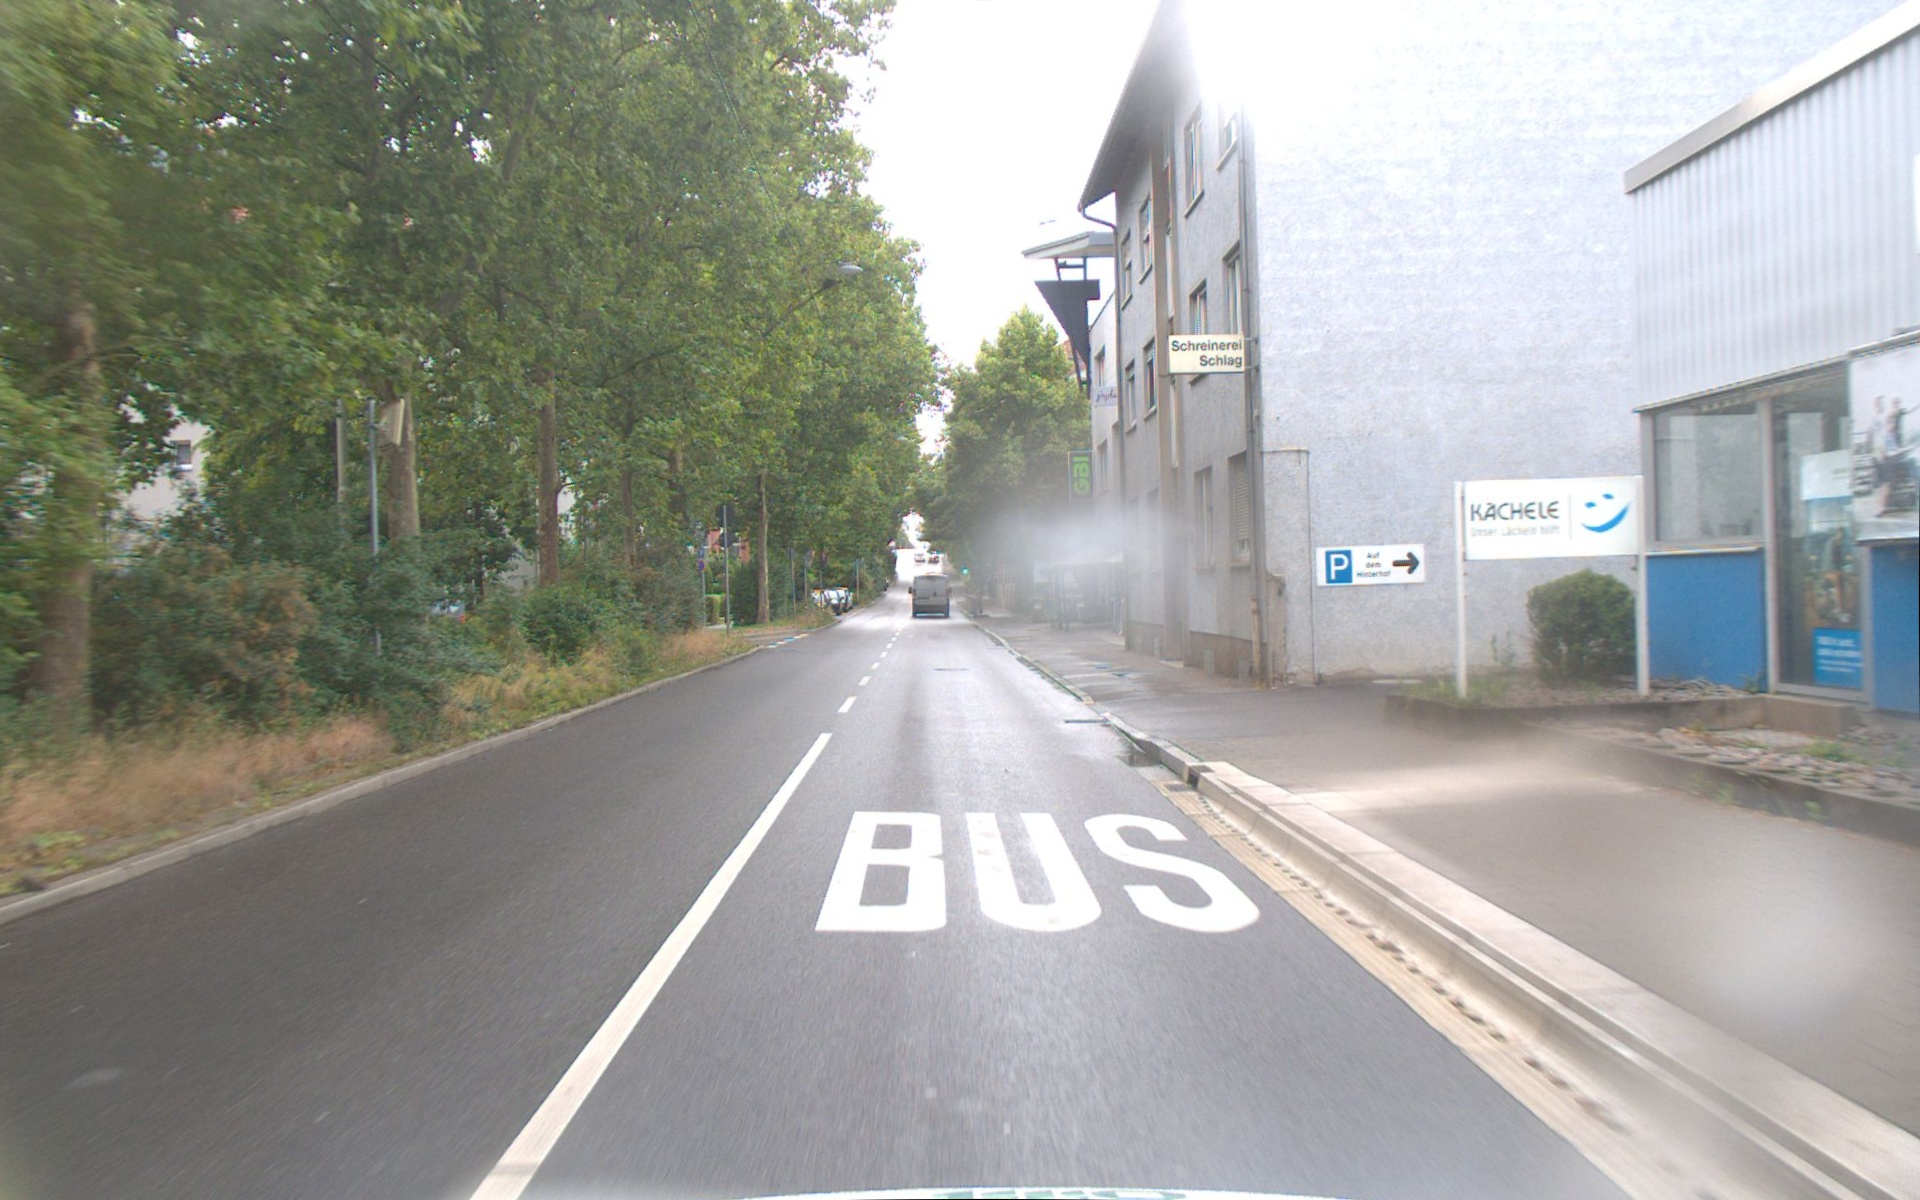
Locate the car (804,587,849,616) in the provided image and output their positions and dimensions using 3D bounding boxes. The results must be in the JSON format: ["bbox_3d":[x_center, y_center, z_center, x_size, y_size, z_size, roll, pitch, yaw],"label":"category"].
[{"bbox_3d":[-7.825,0.126,97.515,2.170,1.620,4.609,0,-1,1],"label":"car"}]

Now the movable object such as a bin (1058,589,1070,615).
[{"bbox_3d":[4.318,0.092,68.617,0.392,1.085,0.358,-1,-2,-7],"label":"movable object such as a bin"}]

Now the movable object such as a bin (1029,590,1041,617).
[{"bbox_3d":[3.112,0.164,68.600,0.392,1.085,0.358,-4,-1,-7],"label":"movable object such as a bin"}]

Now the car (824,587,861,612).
[{"bbox_3d":[-8.313,-0.014,117.514,2.170,1.721,4.609,0,-1,1],"label":"car"}]

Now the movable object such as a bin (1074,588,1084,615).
[{"bbox_3d":[4.951,0.066,68.663,0.349,1.085,0.358,0,-2,-7],"label":"movable object such as a bin"}]

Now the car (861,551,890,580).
[{"bbox_3d":[-7.272,-2.972,142.902,2.170,2.334,4.610,0,0,1],"label":"car"}]

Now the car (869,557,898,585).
[{"bbox_3d":[-6.951,-2.622,150.532,2.169,2.334,4.610,0,-1,3],"label":"car"}]

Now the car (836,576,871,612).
[{"bbox_3d":[-7.899,-0.420,123.179,2.170,2.578,4.610,0,0,1],"label":"car"}]

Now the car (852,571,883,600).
[{"bbox_3d":[-7.485,-1.180,134.802,2.170,2.334,4.610,0,0,1],"label":"car"}]

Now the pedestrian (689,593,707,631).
[{"bbox_3d":[-11.220,0.507,70.811,0.667,1.598,0.622,0,-1,-4],"label":"pedestrian"}]

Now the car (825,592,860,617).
[{"bbox_3d":[-7.984,0.337,112.572,1.954,1.570,4.609,0,-1,1],"label":"car"}]

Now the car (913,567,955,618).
[{"bbox_3d":[-1.407,-0.392,89.933,2.236,2.597,3.999,-1,-1,-1],"label":"car"}]
